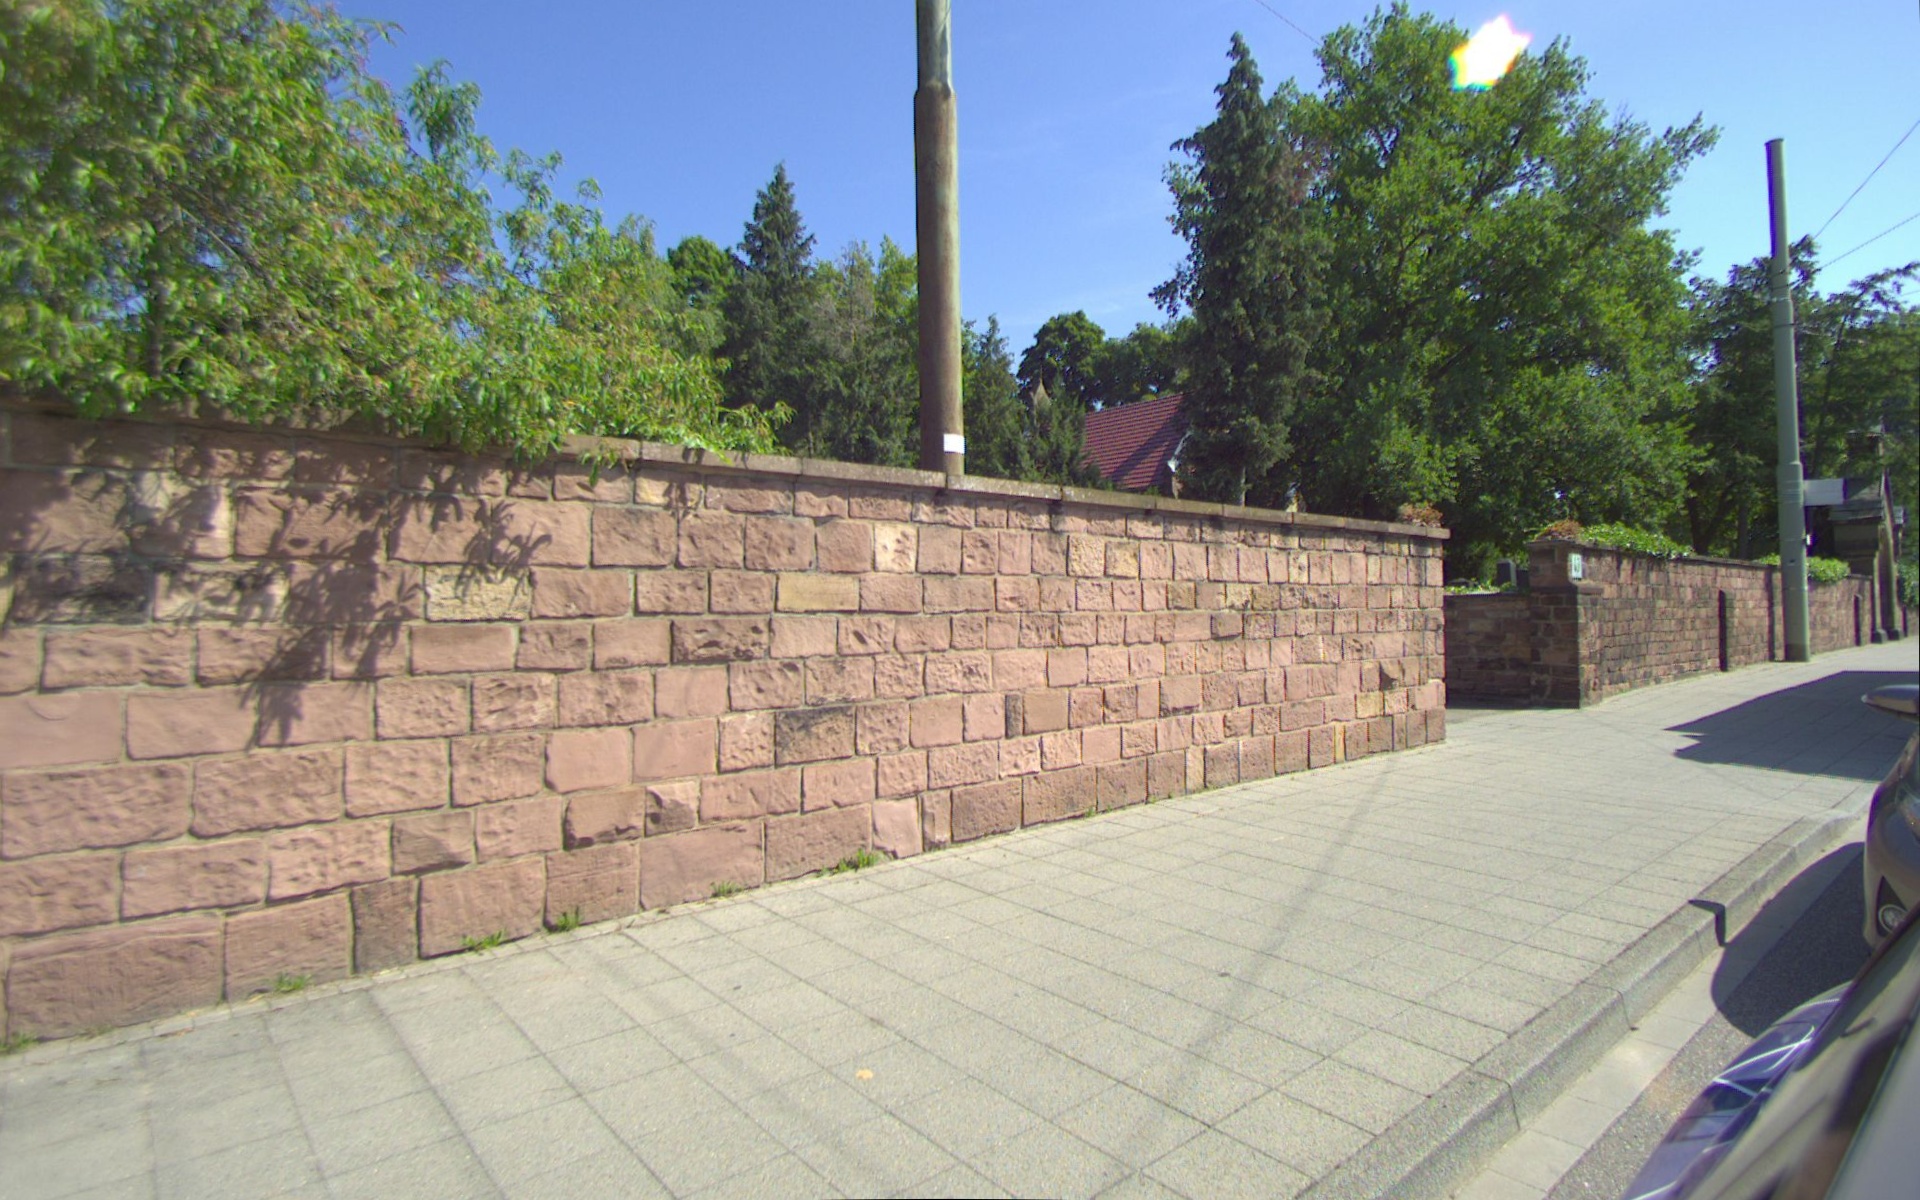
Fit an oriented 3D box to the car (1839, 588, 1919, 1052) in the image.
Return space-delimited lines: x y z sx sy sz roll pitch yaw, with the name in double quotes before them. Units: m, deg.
"car" 5.102 0.664 4.067 4.384 1.451 1.741 0 -1 -41
